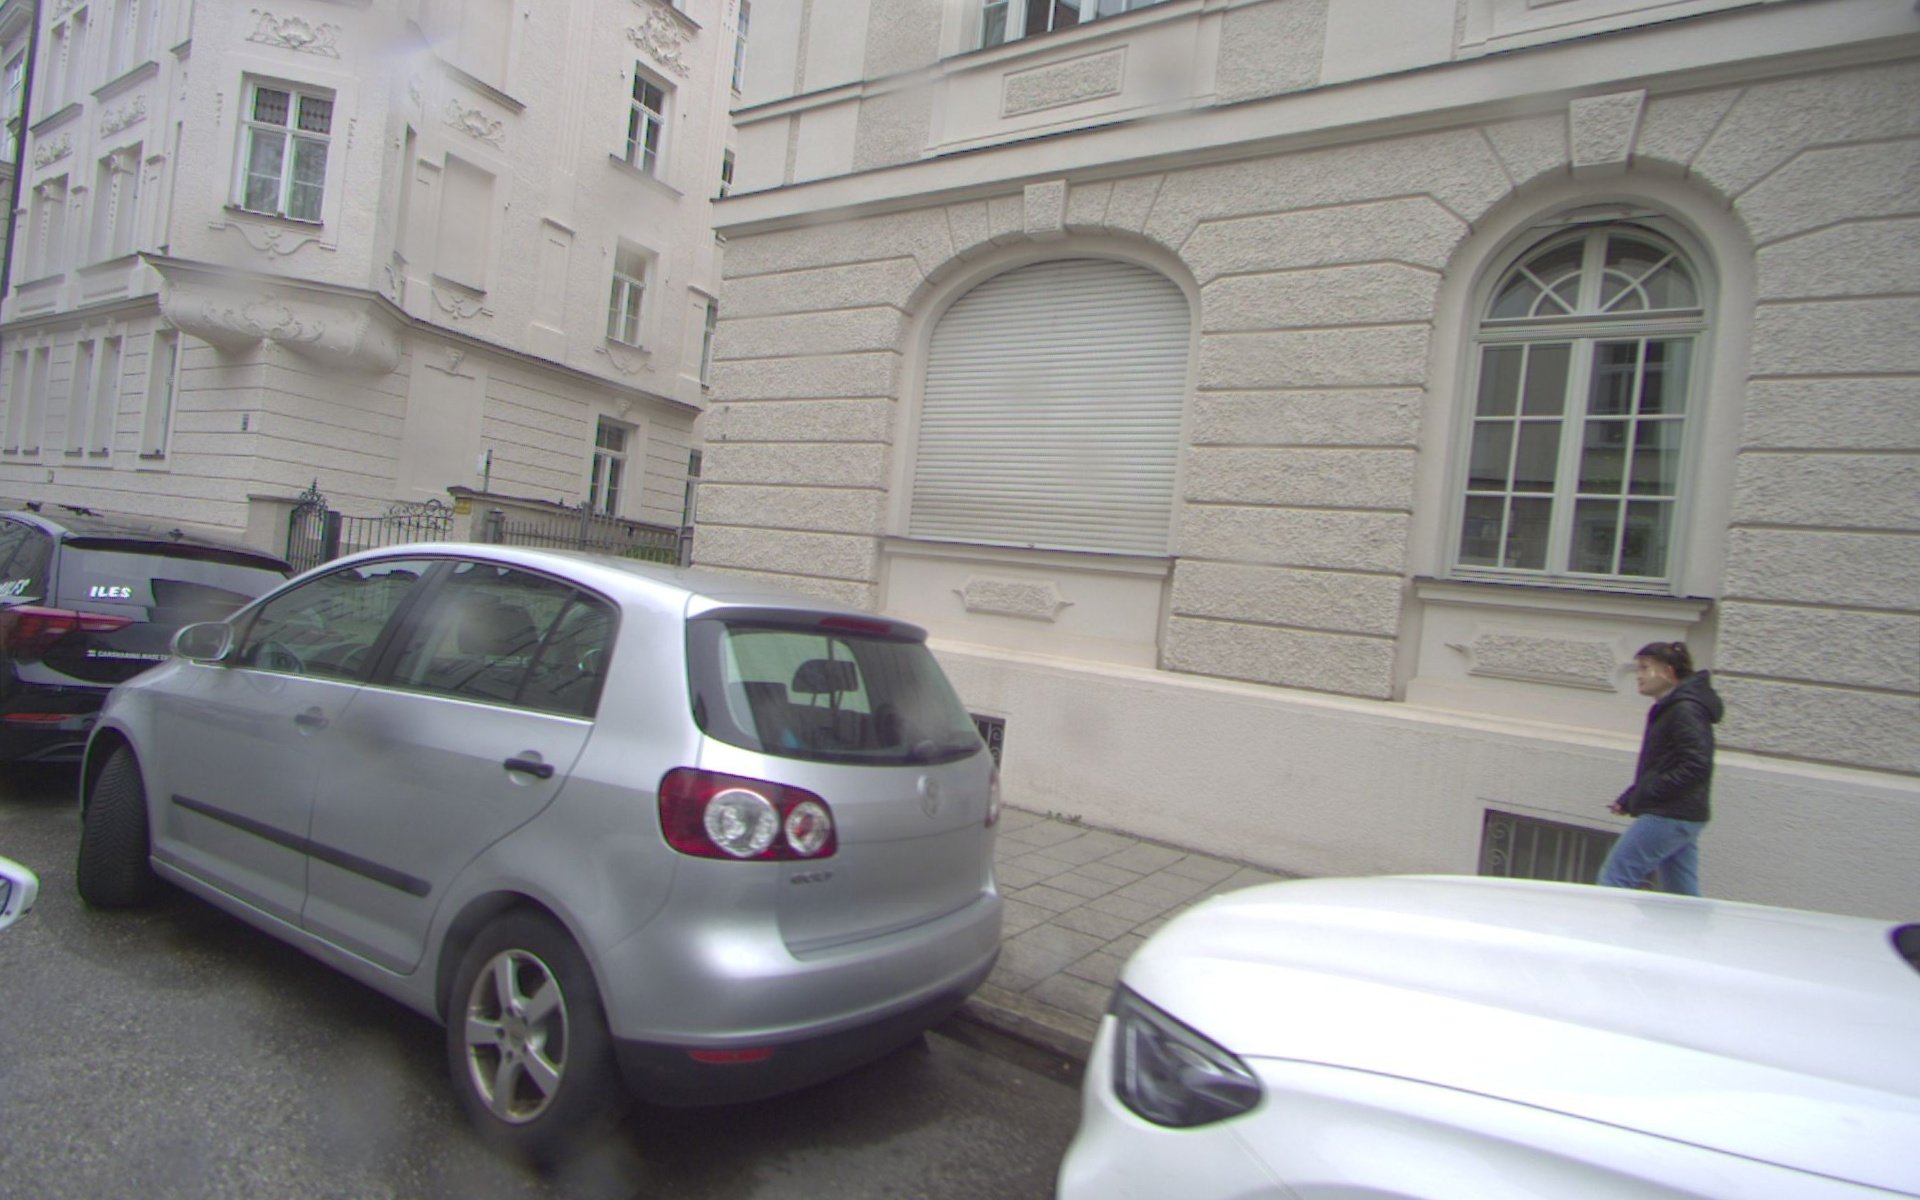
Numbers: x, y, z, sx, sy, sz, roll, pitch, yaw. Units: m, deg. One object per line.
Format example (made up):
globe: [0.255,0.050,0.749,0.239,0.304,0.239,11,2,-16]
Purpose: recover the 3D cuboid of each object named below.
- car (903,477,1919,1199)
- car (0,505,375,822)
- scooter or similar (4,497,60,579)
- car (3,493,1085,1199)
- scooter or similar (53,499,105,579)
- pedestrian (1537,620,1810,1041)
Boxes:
car: [2.231,0.938,1.135,4.321,1.657,1.896,8,1,35]
car: [-5.565,0.188,6.273,3.935,1.411,1.614,7,-1,33]
scooter or similar: [-15.947,-1.073,17.282,1.483,1.305,0.539,7,3,42]
car: [-1.746,0.576,3.840,3.933,1.519,1.711,7,-1,31]
scooter or similar: [-15.557,-1.081,17.750,1.333,1.305,0.505,7,3,43]
pedestrian: [3.296,0.992,4.728,0.799,1.701,0.682,8,3,33]
